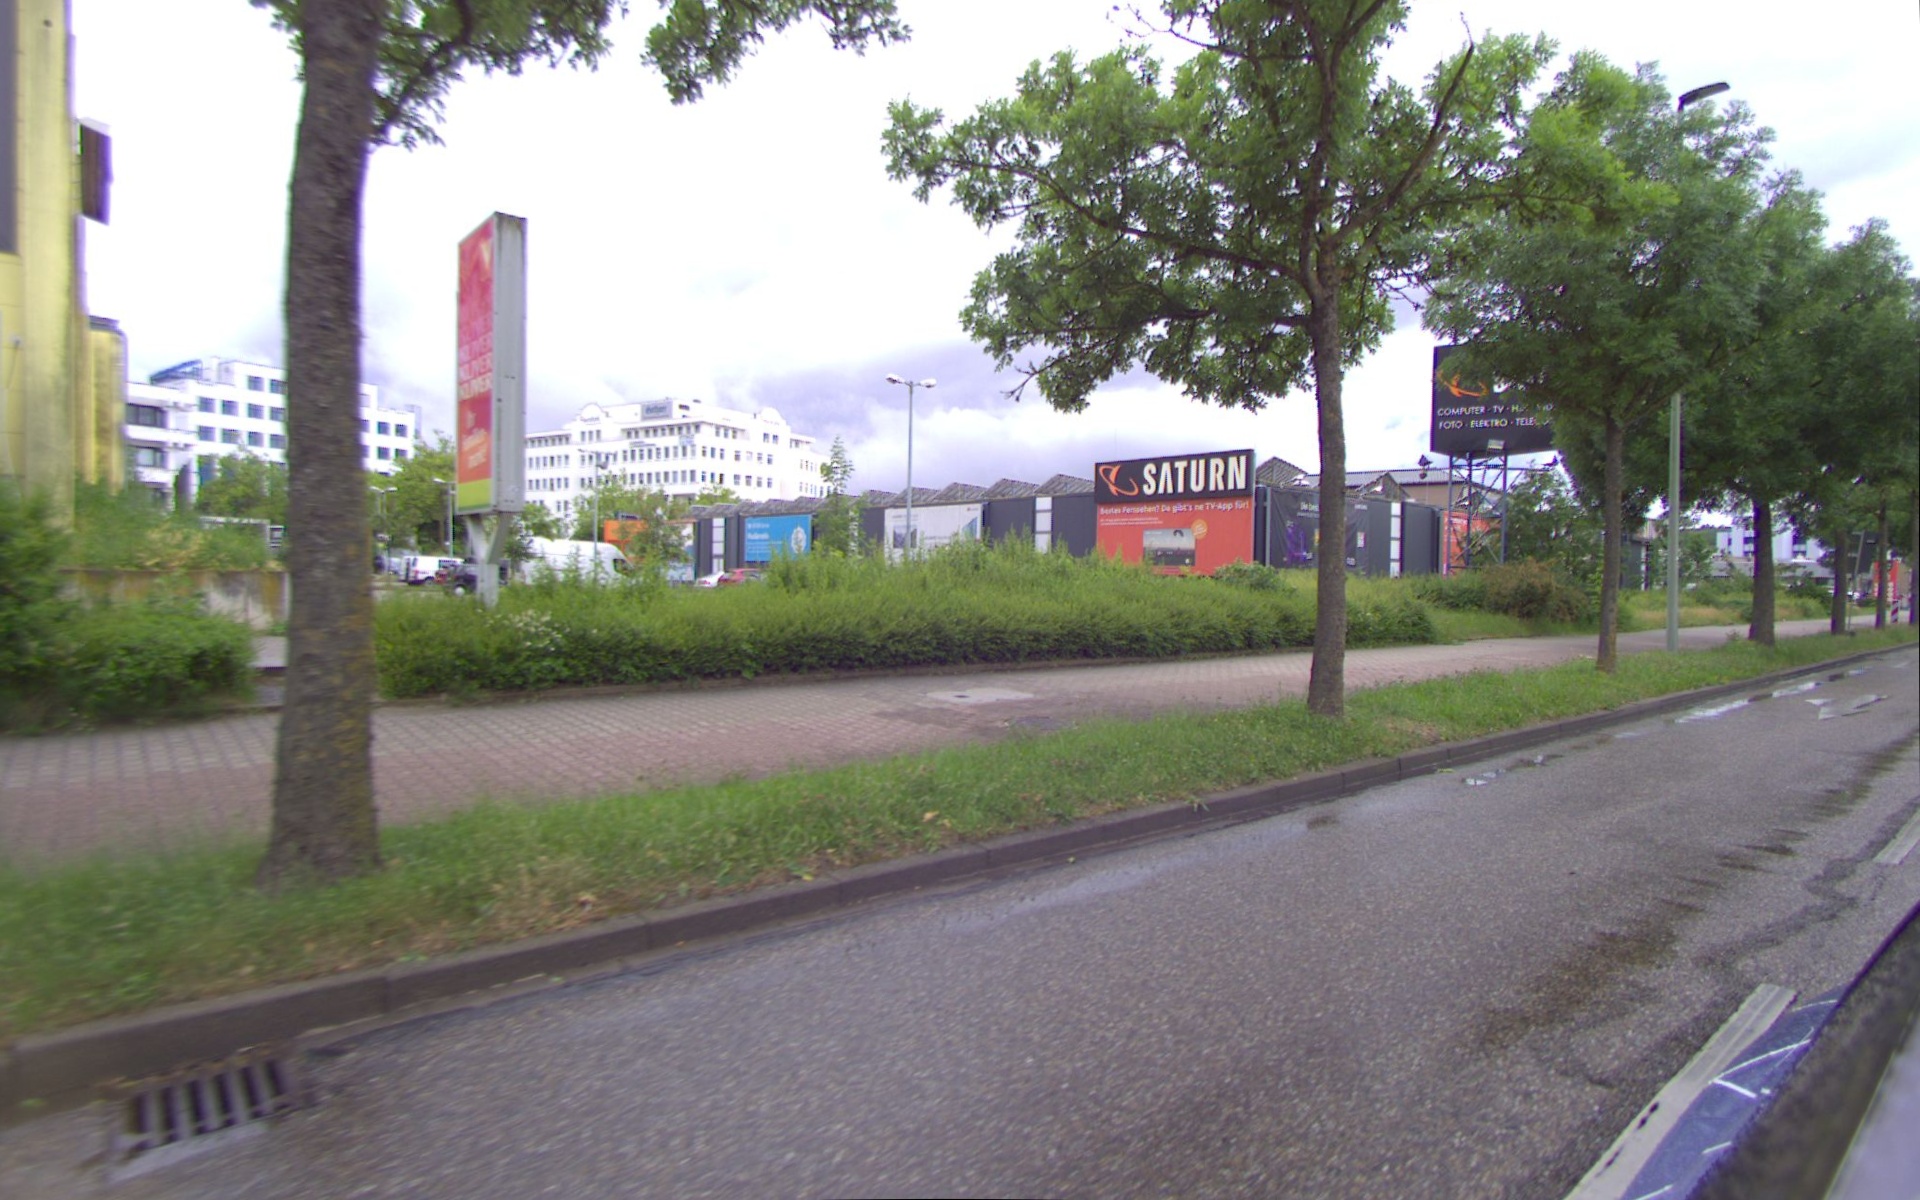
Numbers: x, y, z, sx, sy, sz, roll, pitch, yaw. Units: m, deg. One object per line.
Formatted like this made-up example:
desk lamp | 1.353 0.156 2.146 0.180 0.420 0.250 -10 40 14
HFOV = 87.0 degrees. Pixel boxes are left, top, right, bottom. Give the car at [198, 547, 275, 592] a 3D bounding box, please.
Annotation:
car | -25.055 -1.053 35.014 1.877 1.460 3.995 -1 2 -40

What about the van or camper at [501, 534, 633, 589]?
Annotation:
van or camper | -17.011 -1.636 43.970 4.936 2.282 2.153 -1 1 -41

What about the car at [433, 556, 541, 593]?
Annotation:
car | -22.088 -1.194 47.333 4.186 1.633 1.906 -1 2 -45
